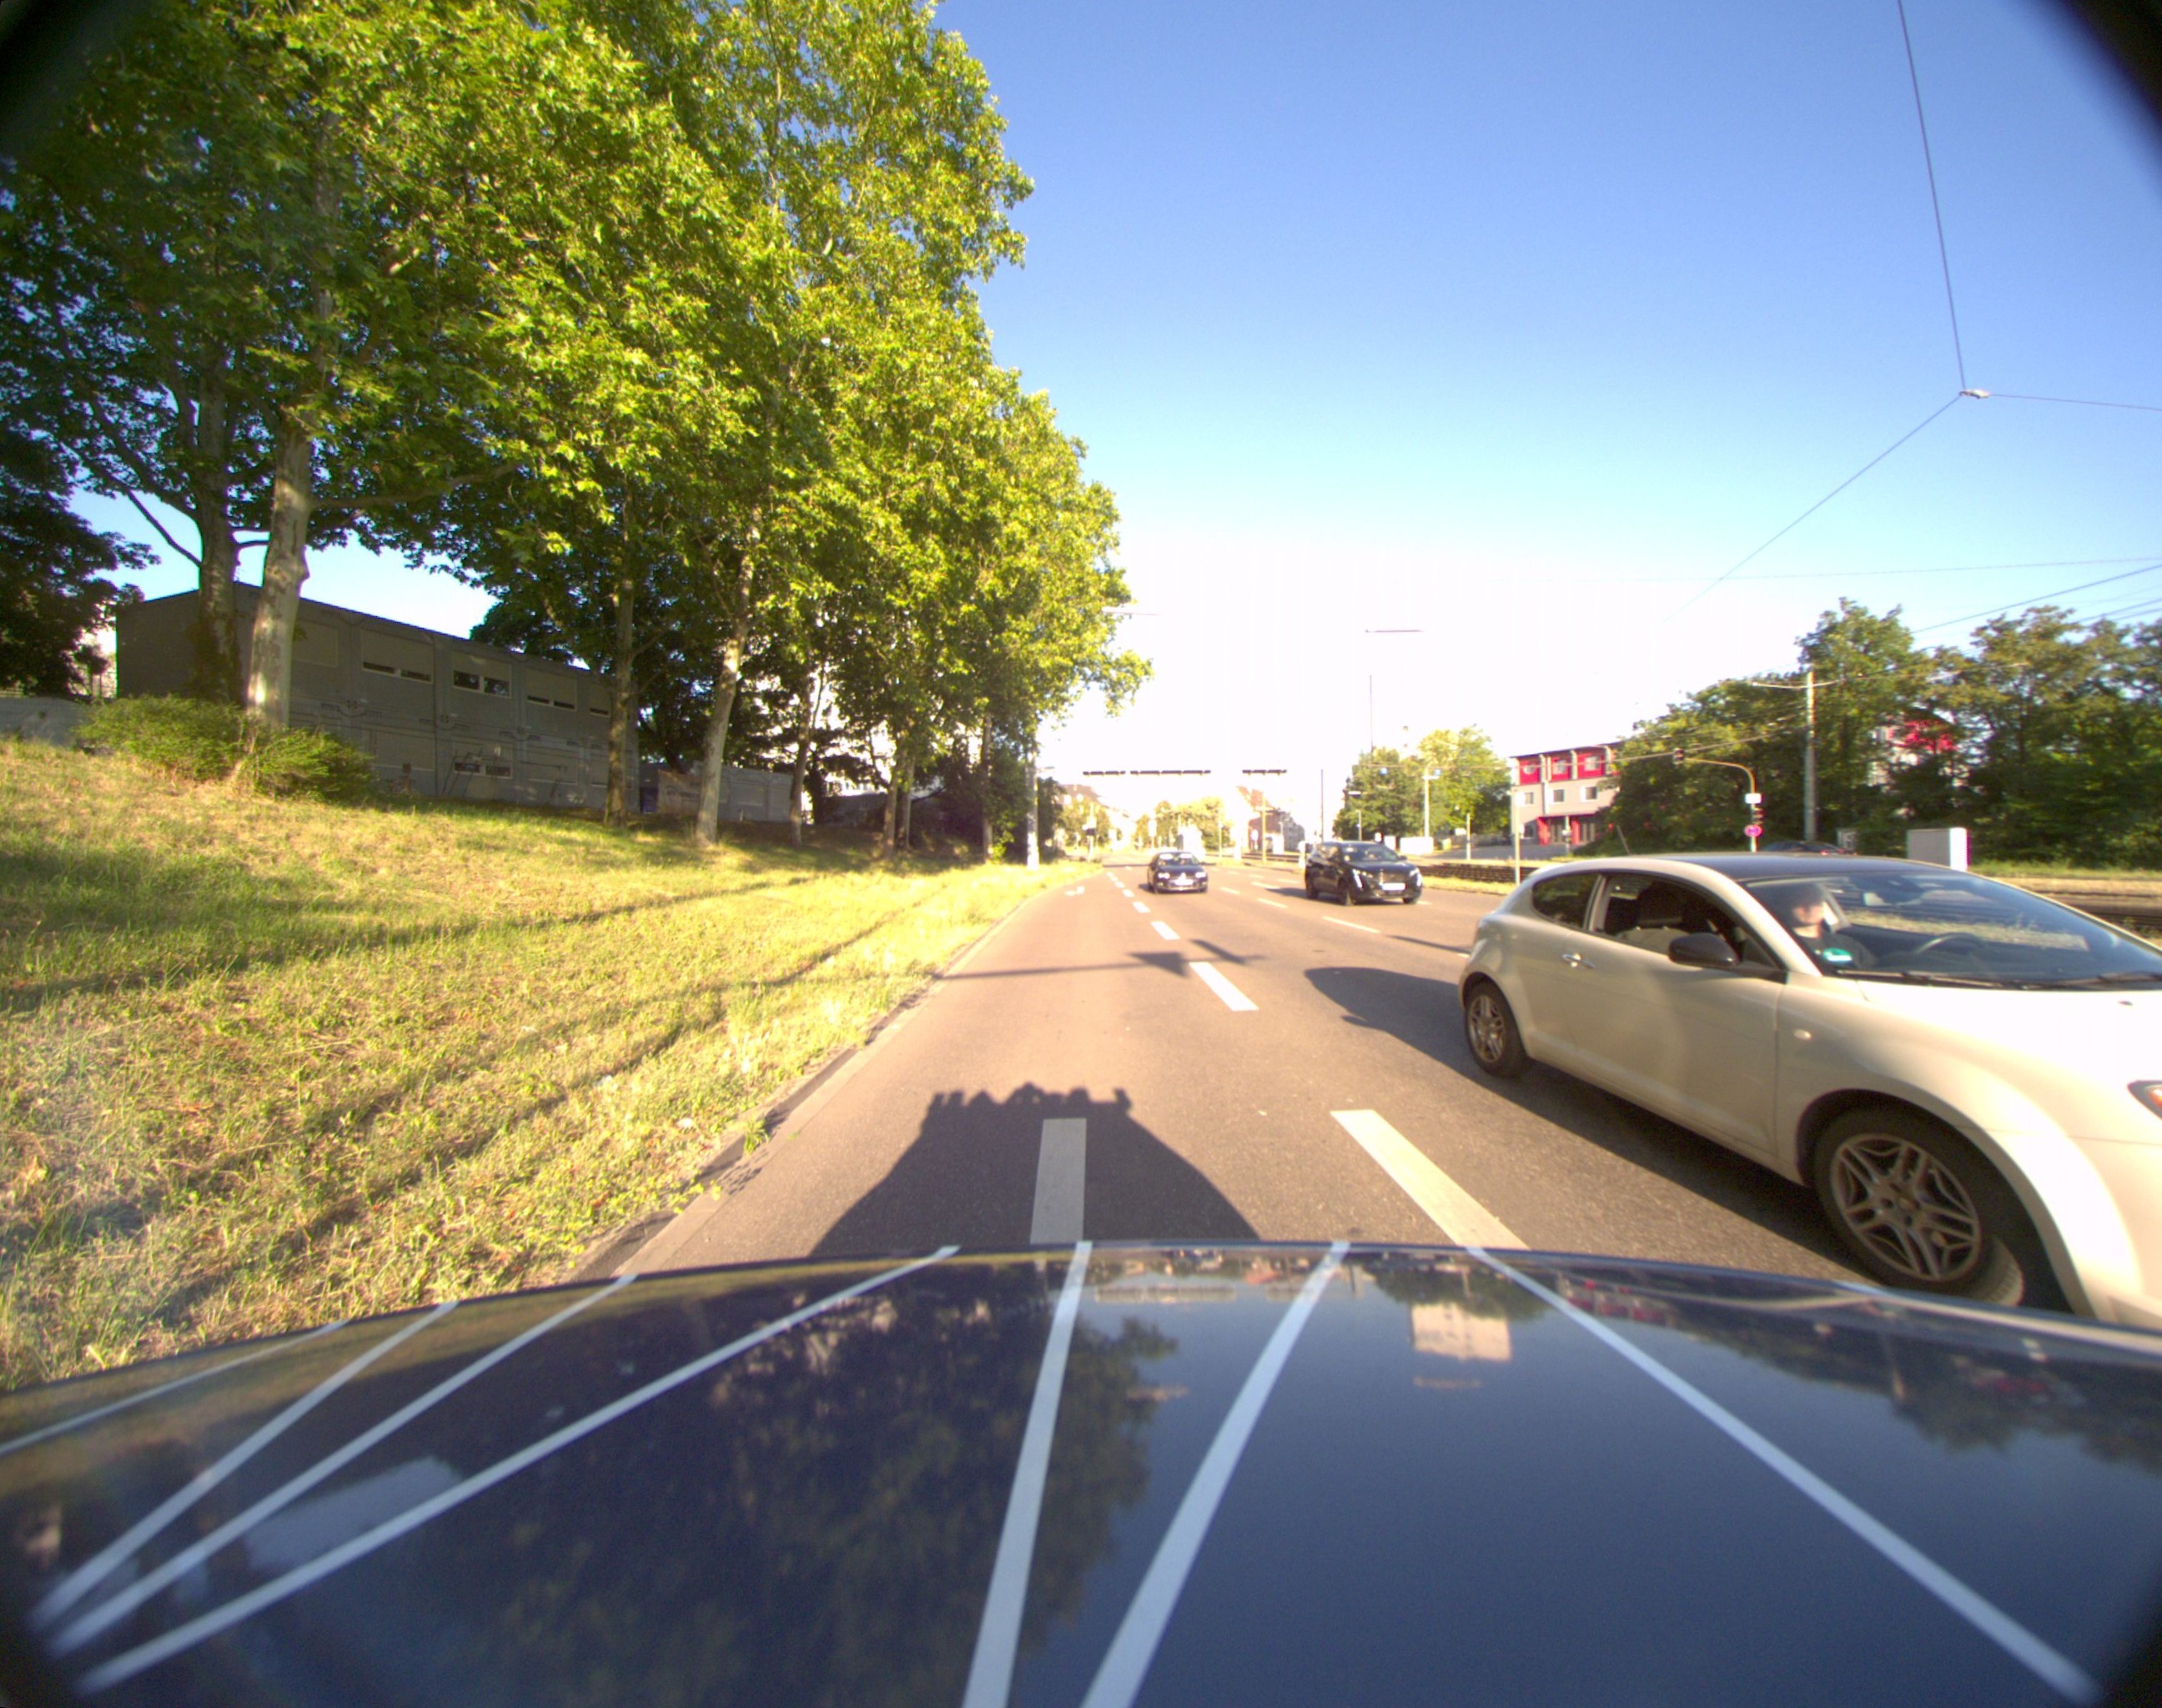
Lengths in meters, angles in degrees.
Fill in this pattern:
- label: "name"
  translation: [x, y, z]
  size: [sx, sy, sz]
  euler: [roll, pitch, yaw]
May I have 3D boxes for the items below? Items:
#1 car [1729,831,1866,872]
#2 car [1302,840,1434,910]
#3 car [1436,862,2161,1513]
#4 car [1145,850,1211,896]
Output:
- label: "car"
  translation: [32.750, -0.118, 34.962]
  size: [1.753, 1.669, 4.755]
  euler: [-2, 0, -1]
- label: "car"
  translation: [7.446, 0.492, 20.203]
  size: [1.905, 1.652, 4.276]
  euler: [-1, 0, 0]
- label: "car"
  translation: [3.445, 0.824, 3.467]
  size: [1.741, 1.496, 3.999]
  euler: [-1, 0, -1]
- label: "car"
  translation: [3.300, 0.608, 26.525]
  size: [1.741, 1.429, 3.999]
  euler: [-2, 1, -1]
